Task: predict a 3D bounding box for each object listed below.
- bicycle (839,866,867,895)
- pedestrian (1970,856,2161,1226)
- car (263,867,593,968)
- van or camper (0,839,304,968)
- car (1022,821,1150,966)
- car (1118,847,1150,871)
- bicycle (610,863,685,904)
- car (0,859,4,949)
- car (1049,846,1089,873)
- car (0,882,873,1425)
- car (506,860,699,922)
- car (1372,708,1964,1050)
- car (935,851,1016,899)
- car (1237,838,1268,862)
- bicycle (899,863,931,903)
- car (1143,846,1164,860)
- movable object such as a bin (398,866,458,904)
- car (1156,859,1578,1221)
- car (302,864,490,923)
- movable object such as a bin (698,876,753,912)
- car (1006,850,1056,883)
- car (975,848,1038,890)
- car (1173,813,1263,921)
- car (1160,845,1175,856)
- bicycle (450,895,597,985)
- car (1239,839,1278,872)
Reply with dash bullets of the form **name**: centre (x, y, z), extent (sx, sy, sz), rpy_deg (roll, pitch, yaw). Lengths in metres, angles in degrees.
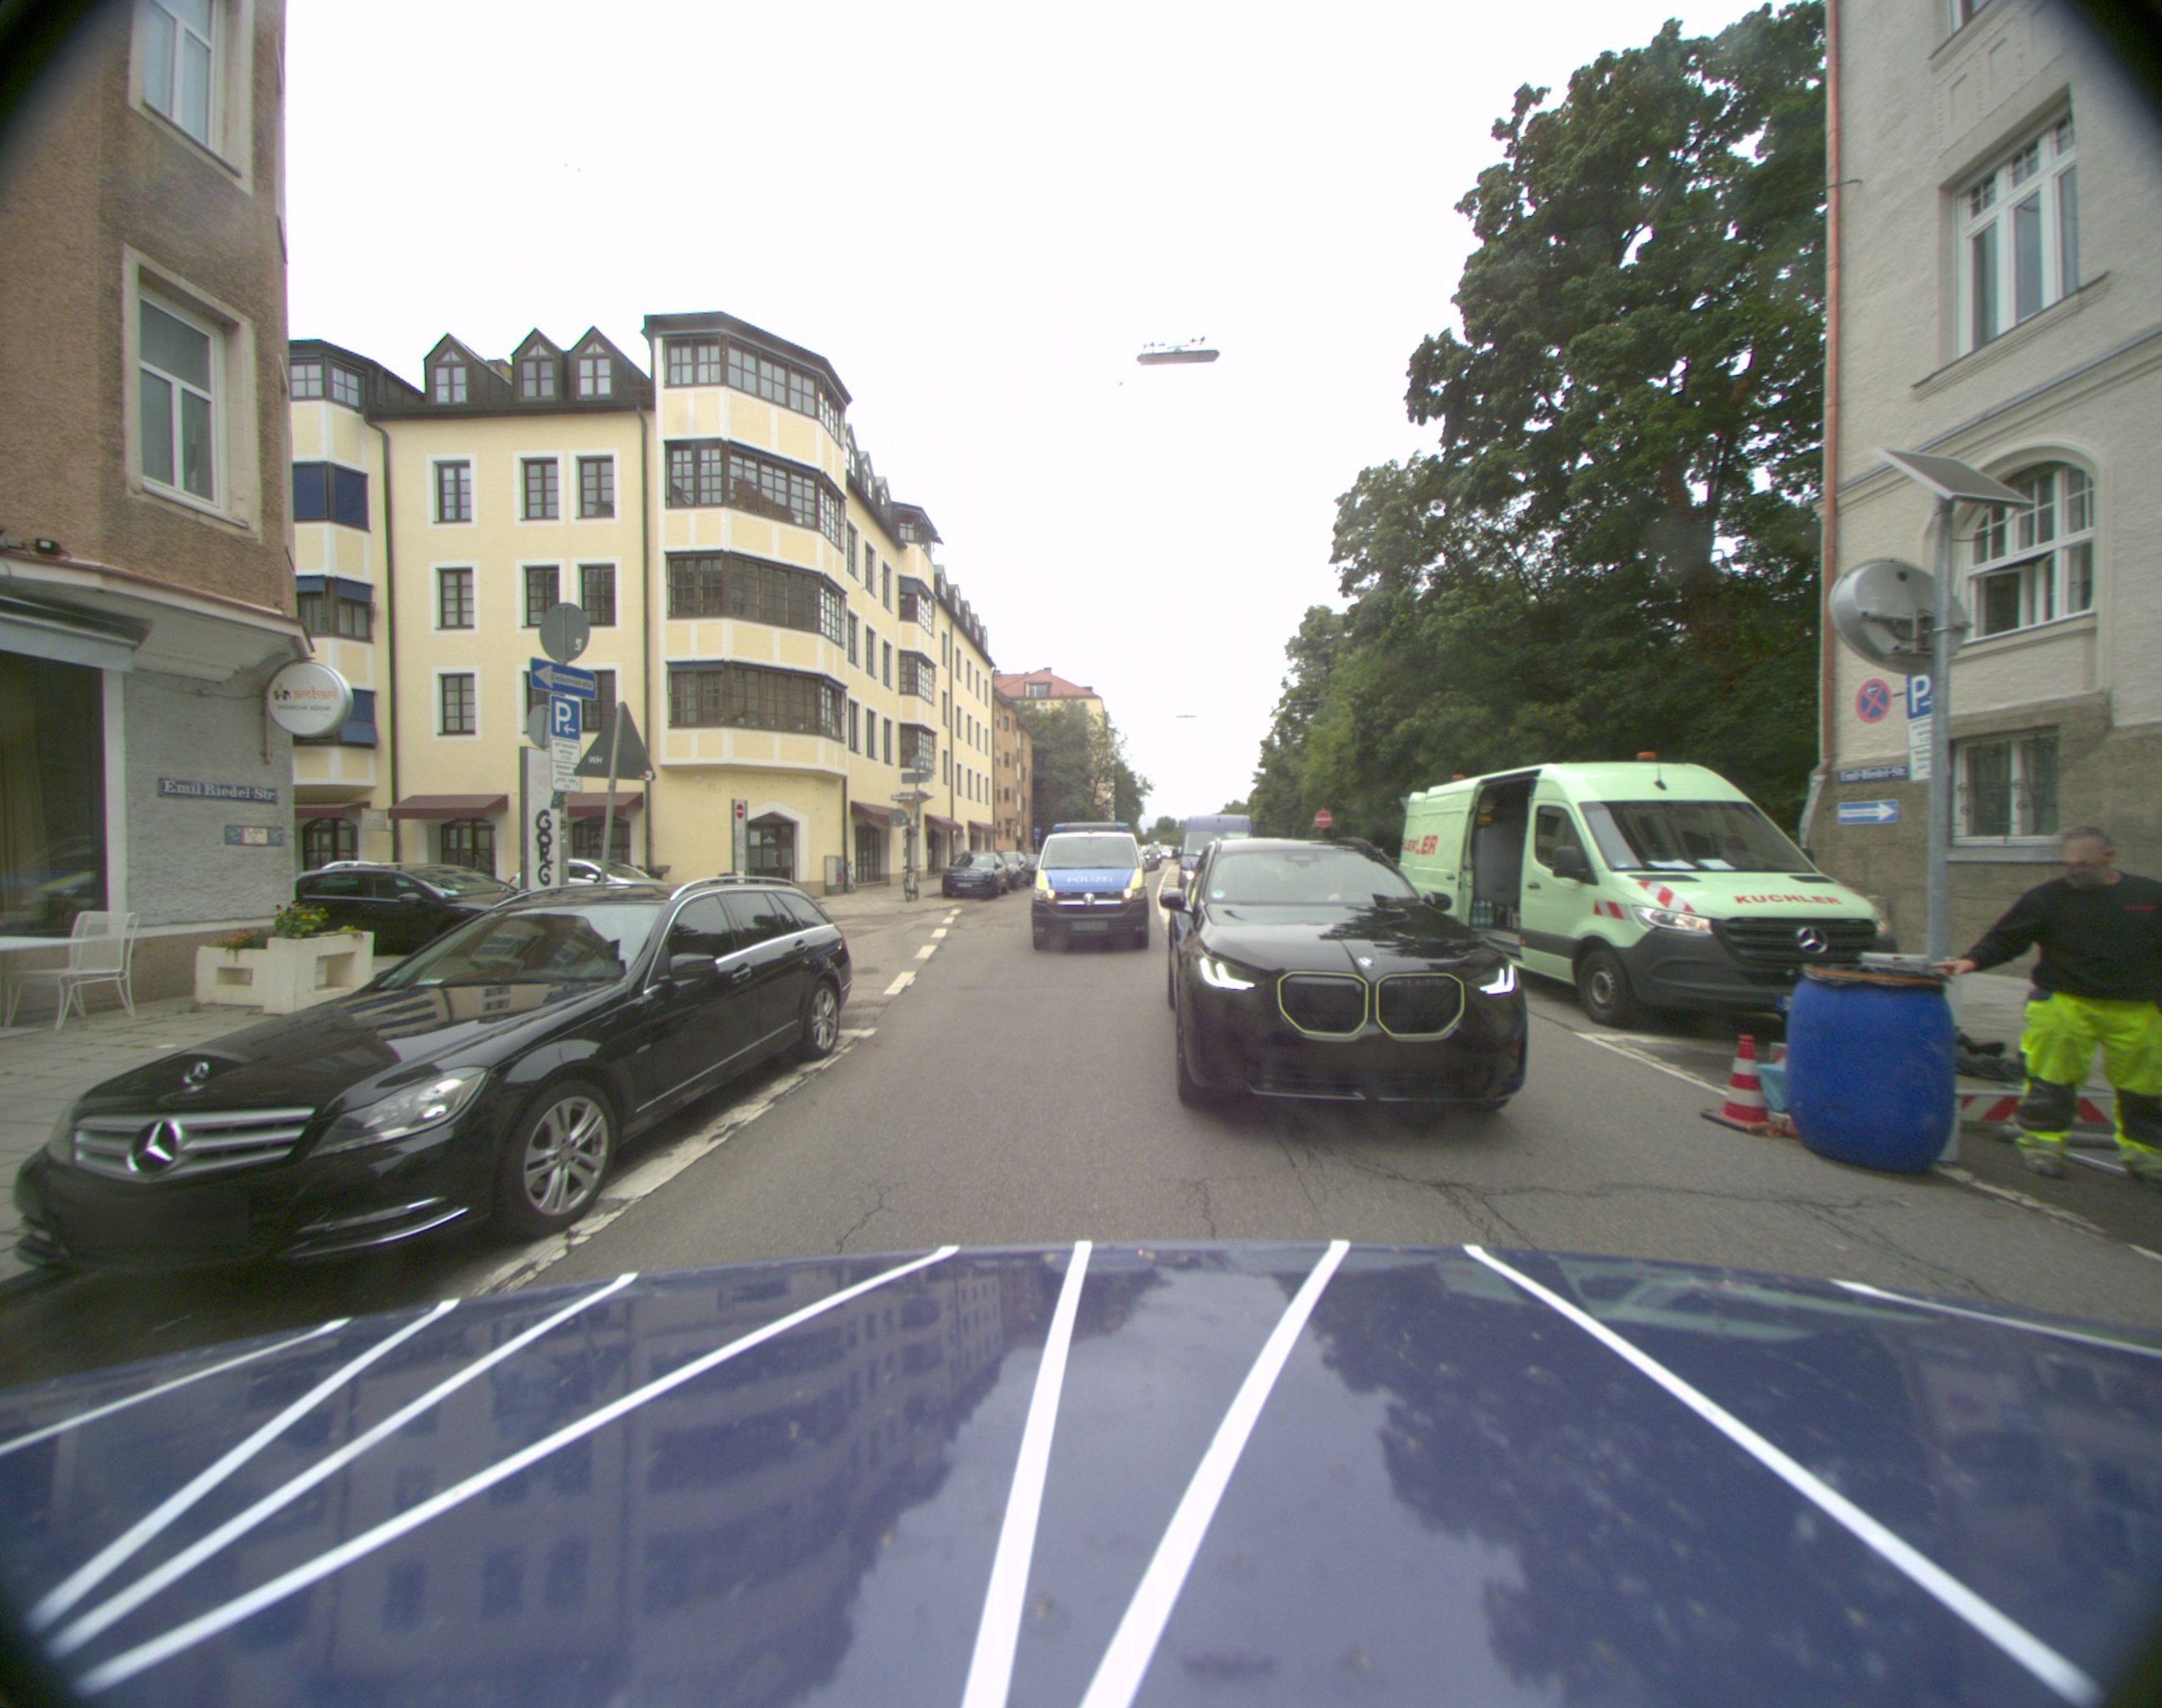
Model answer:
- **bicycle**: centre (-7.922, 0.917, 26.472), extent (0.262, 0.897, 1.695), rpy_deg (4, 2, 5)
- **pedestrian**: centre (4.926, 0.801, 3.593), extent (0.764, 1.571, 0.636), rpy_deg (0, 2, -15)
- **car**: centre (-10.616, 0.992, 12.574), extent (3.881, 1.479, 1.892), rpy_deg (0, 1, 3)
- **van or camper**: centre (-16.380, 0.750, 12.685), extent (4.910, 1.909, 1.961), rpy_deg (0, 3, 4)
- **car**: centre (0.319, 0.555, 13.817), extent (1.826, 2.087, 5.635), rpy_deg (-1, 1, 5)
- **car**: centre (3.830, 0.308, 54.611), extent (1.997, 1.587, 4.002), rpy_deg (1, 1, 8)
- **bicycle**: centre (-12.657, 0.851, 22.193), extent (1.904, 1.180, 0.515), rpy_deg (0, 1, 4)
- **car**: centre (-21.775, 0.922, 13.063), extent (3.993, 1.634, 1.979), rpy_deg (0, 1, 5)
- **car**: centre (-0.746, 0.307, 51.264), extent (1.882, 1.642, 5.619), rpy_deg (1, 1, 7)
- **car**: centre (-2.982, 1.004, 4.699), extent (1.851, 1.397, 4.788), rpy_deg (-1, 1, 3)
- **car**: centre (-11.726, 0.893, 18.745), extent (3.741, 1.431, 1.753), rpy_deg (0, -2, 7)
- **car**: centre (5.708, 0.177, 9.125), extent (2.146, 2.557, 6.795), rpy_deg (-1, 1, 3)
- **car**: centre (-3.788, 0.713, 28.190), extent (2.111, 1.613, 4.497), rpy_deg (0, 1, 3)
- **car**: centre (11.925, -0.302, 52.656), extent (1.815, 1.455, 4.168), rpy_deg (4, 2, 15)
- **bicycle**: centre (-5.266, 0.904, 24.210), extent (0.430, 1.152, 2.053), rpy_deg (1, 1, 4)
- **car**: centre (7.315, -0.131, 76.138), extent (1.836, 1.390, 4.002), rpy_deg (1, 1, 9)
- **movable object such as a bin**: centre (-19.501, 0.915, 22.717), extent (1.125, 1.075, 0.767), rpy_deg (0, 1, 4)
- **car**: centre (1.605, 0.879, 5.759), extent (1.920, 1.557, 4.295), rpy_deg (0, 1, 7)
- **car**: centre (-17.245, 0.963, 19.214), extent (3.451, 1.330, 1.639), rpy_deg (1, 1, 7)
- **movable object such as a bin**: centre (-9.514, 1.063, 20.368), extent (1.125, 0.895, 0.684), rpy_deg (0, 1, 4)
- **car**: centre (-2.466, 0.587, 38.484), extent (1.763, 1.514, 3.934), rpy_deg (1, 1, 8)
- **car**: centre (-3.187, 0.604, 33.404), extent (1.817, 1.580, 4.165), rpy_deg (4, 2, 7)
- **car**: centre (3.888, 0.214, 20.644), extent (2.003, 2.477, 6.238), rpy_deg (-1, 2, 14)
- **car**: centre (11.594, -0.468, 102.053), extent (1.836, 1.390, 4.002), rpy_deg (1, 1, 9)
- **bicycle**: centre (-7.366, 1.099, 10.155), extent (0.496, 0.999, 1.804), rpy_deg (1, 0, 5)
- **car**: centre (9.559, 0.038, 41.003), extent (1.815, 1.580, 4.168), rpy_deg (4, 2, 13)
